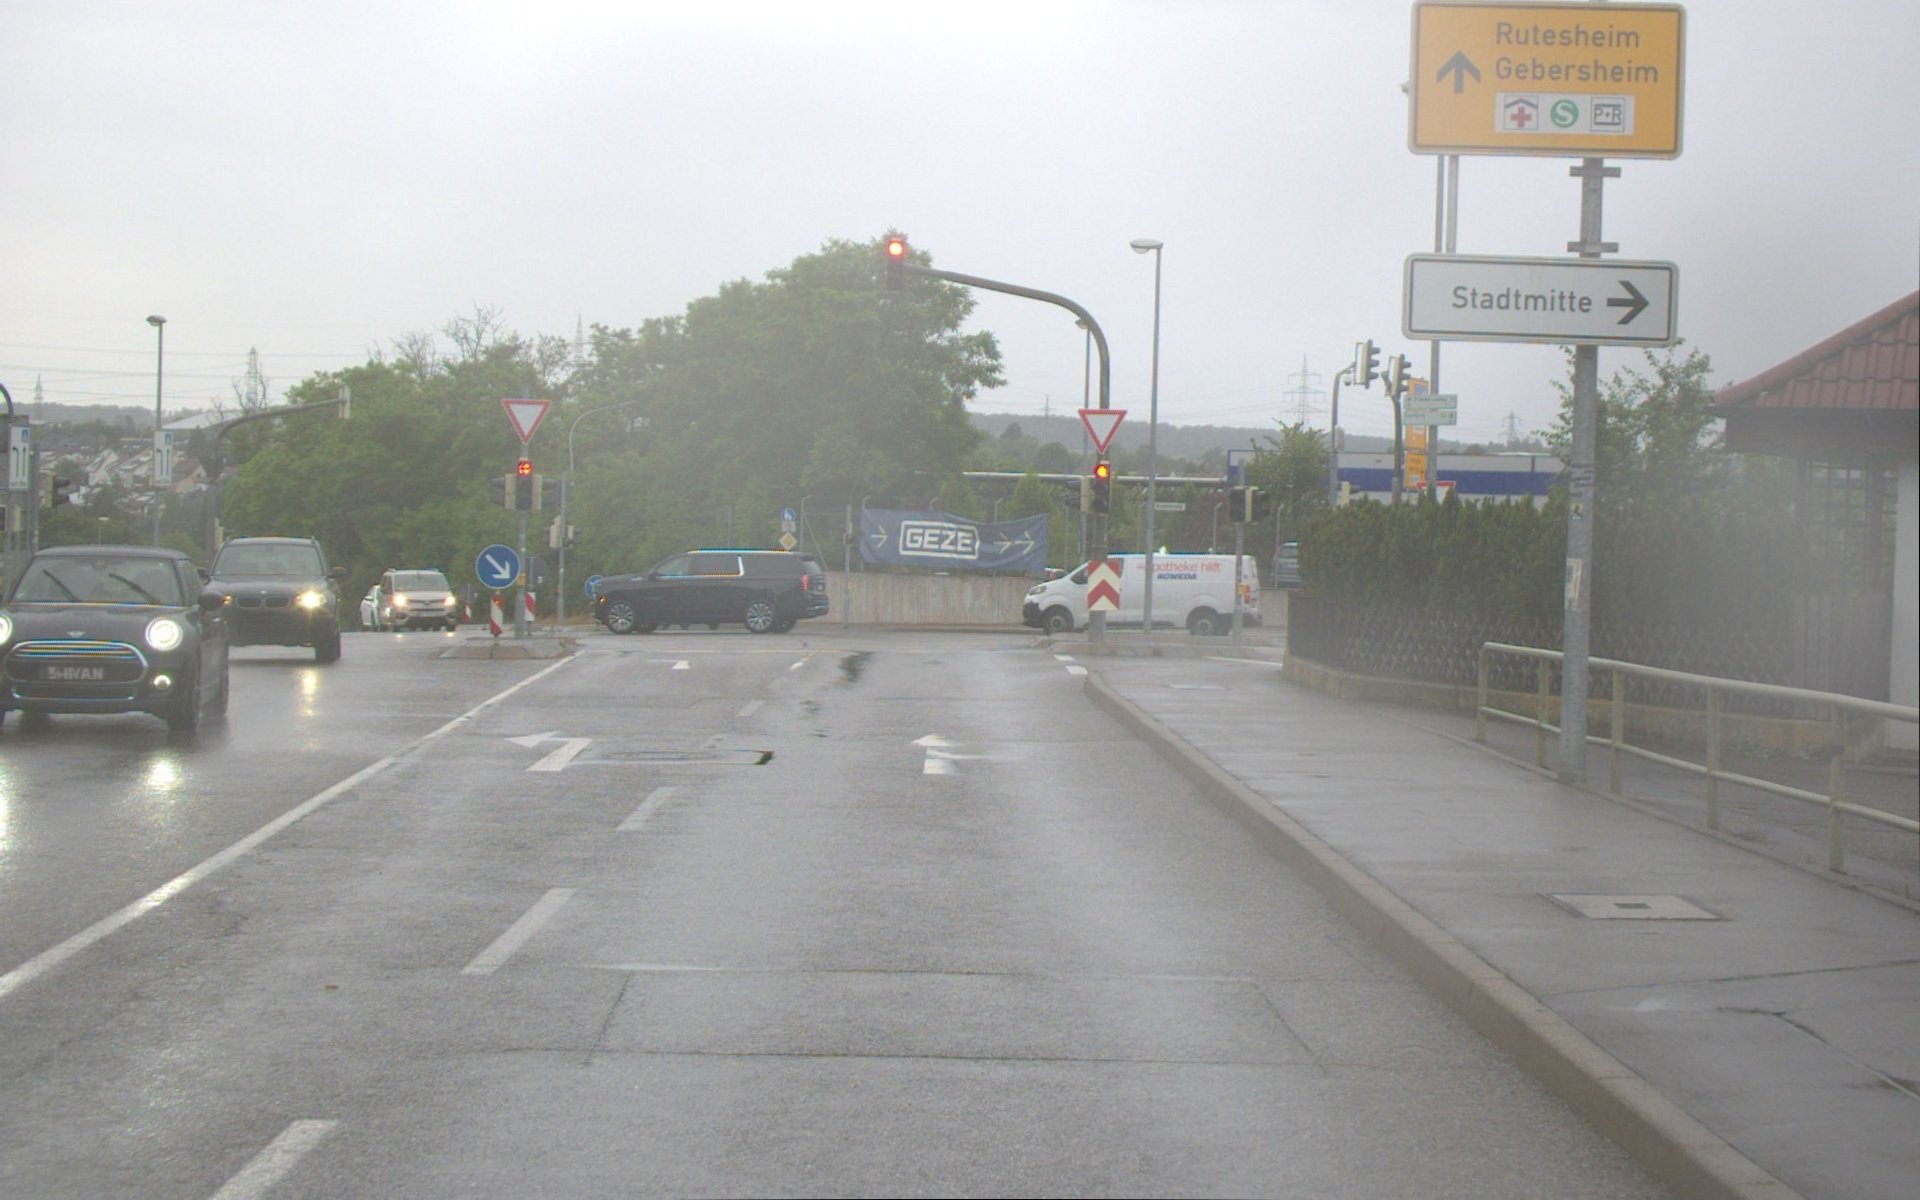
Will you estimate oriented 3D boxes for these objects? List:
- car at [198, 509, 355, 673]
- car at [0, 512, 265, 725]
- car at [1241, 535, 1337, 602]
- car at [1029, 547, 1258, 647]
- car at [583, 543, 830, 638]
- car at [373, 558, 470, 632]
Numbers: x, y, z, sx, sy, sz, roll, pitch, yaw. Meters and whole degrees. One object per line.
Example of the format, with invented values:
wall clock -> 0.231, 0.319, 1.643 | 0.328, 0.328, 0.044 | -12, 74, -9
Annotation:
car -> -8.962, -0.164, 45.328 | 1.771, 2.007, 4.001 | 1, 1, -8
car -> -6.795, 0.086, 27.493 | 1.805, 1.518, 4.001 | 2, 1, -3
car -> 10.363, -0.993, 107.977 | 1.996, 2.007, 3.996 | 2, 2, 20
car -> 4.071, -0.086, 76.170 | 4.859, 2.007, 1.777 | 2, 1, 9
car -> -5.979, -0.238, 81.493 | 5.468, 2.007, 2.000 | -2, 1, 8
car -> -15.390, -0.170, 98.081 | 1.993, 2.007, 4.001 | -1, 1, -20
